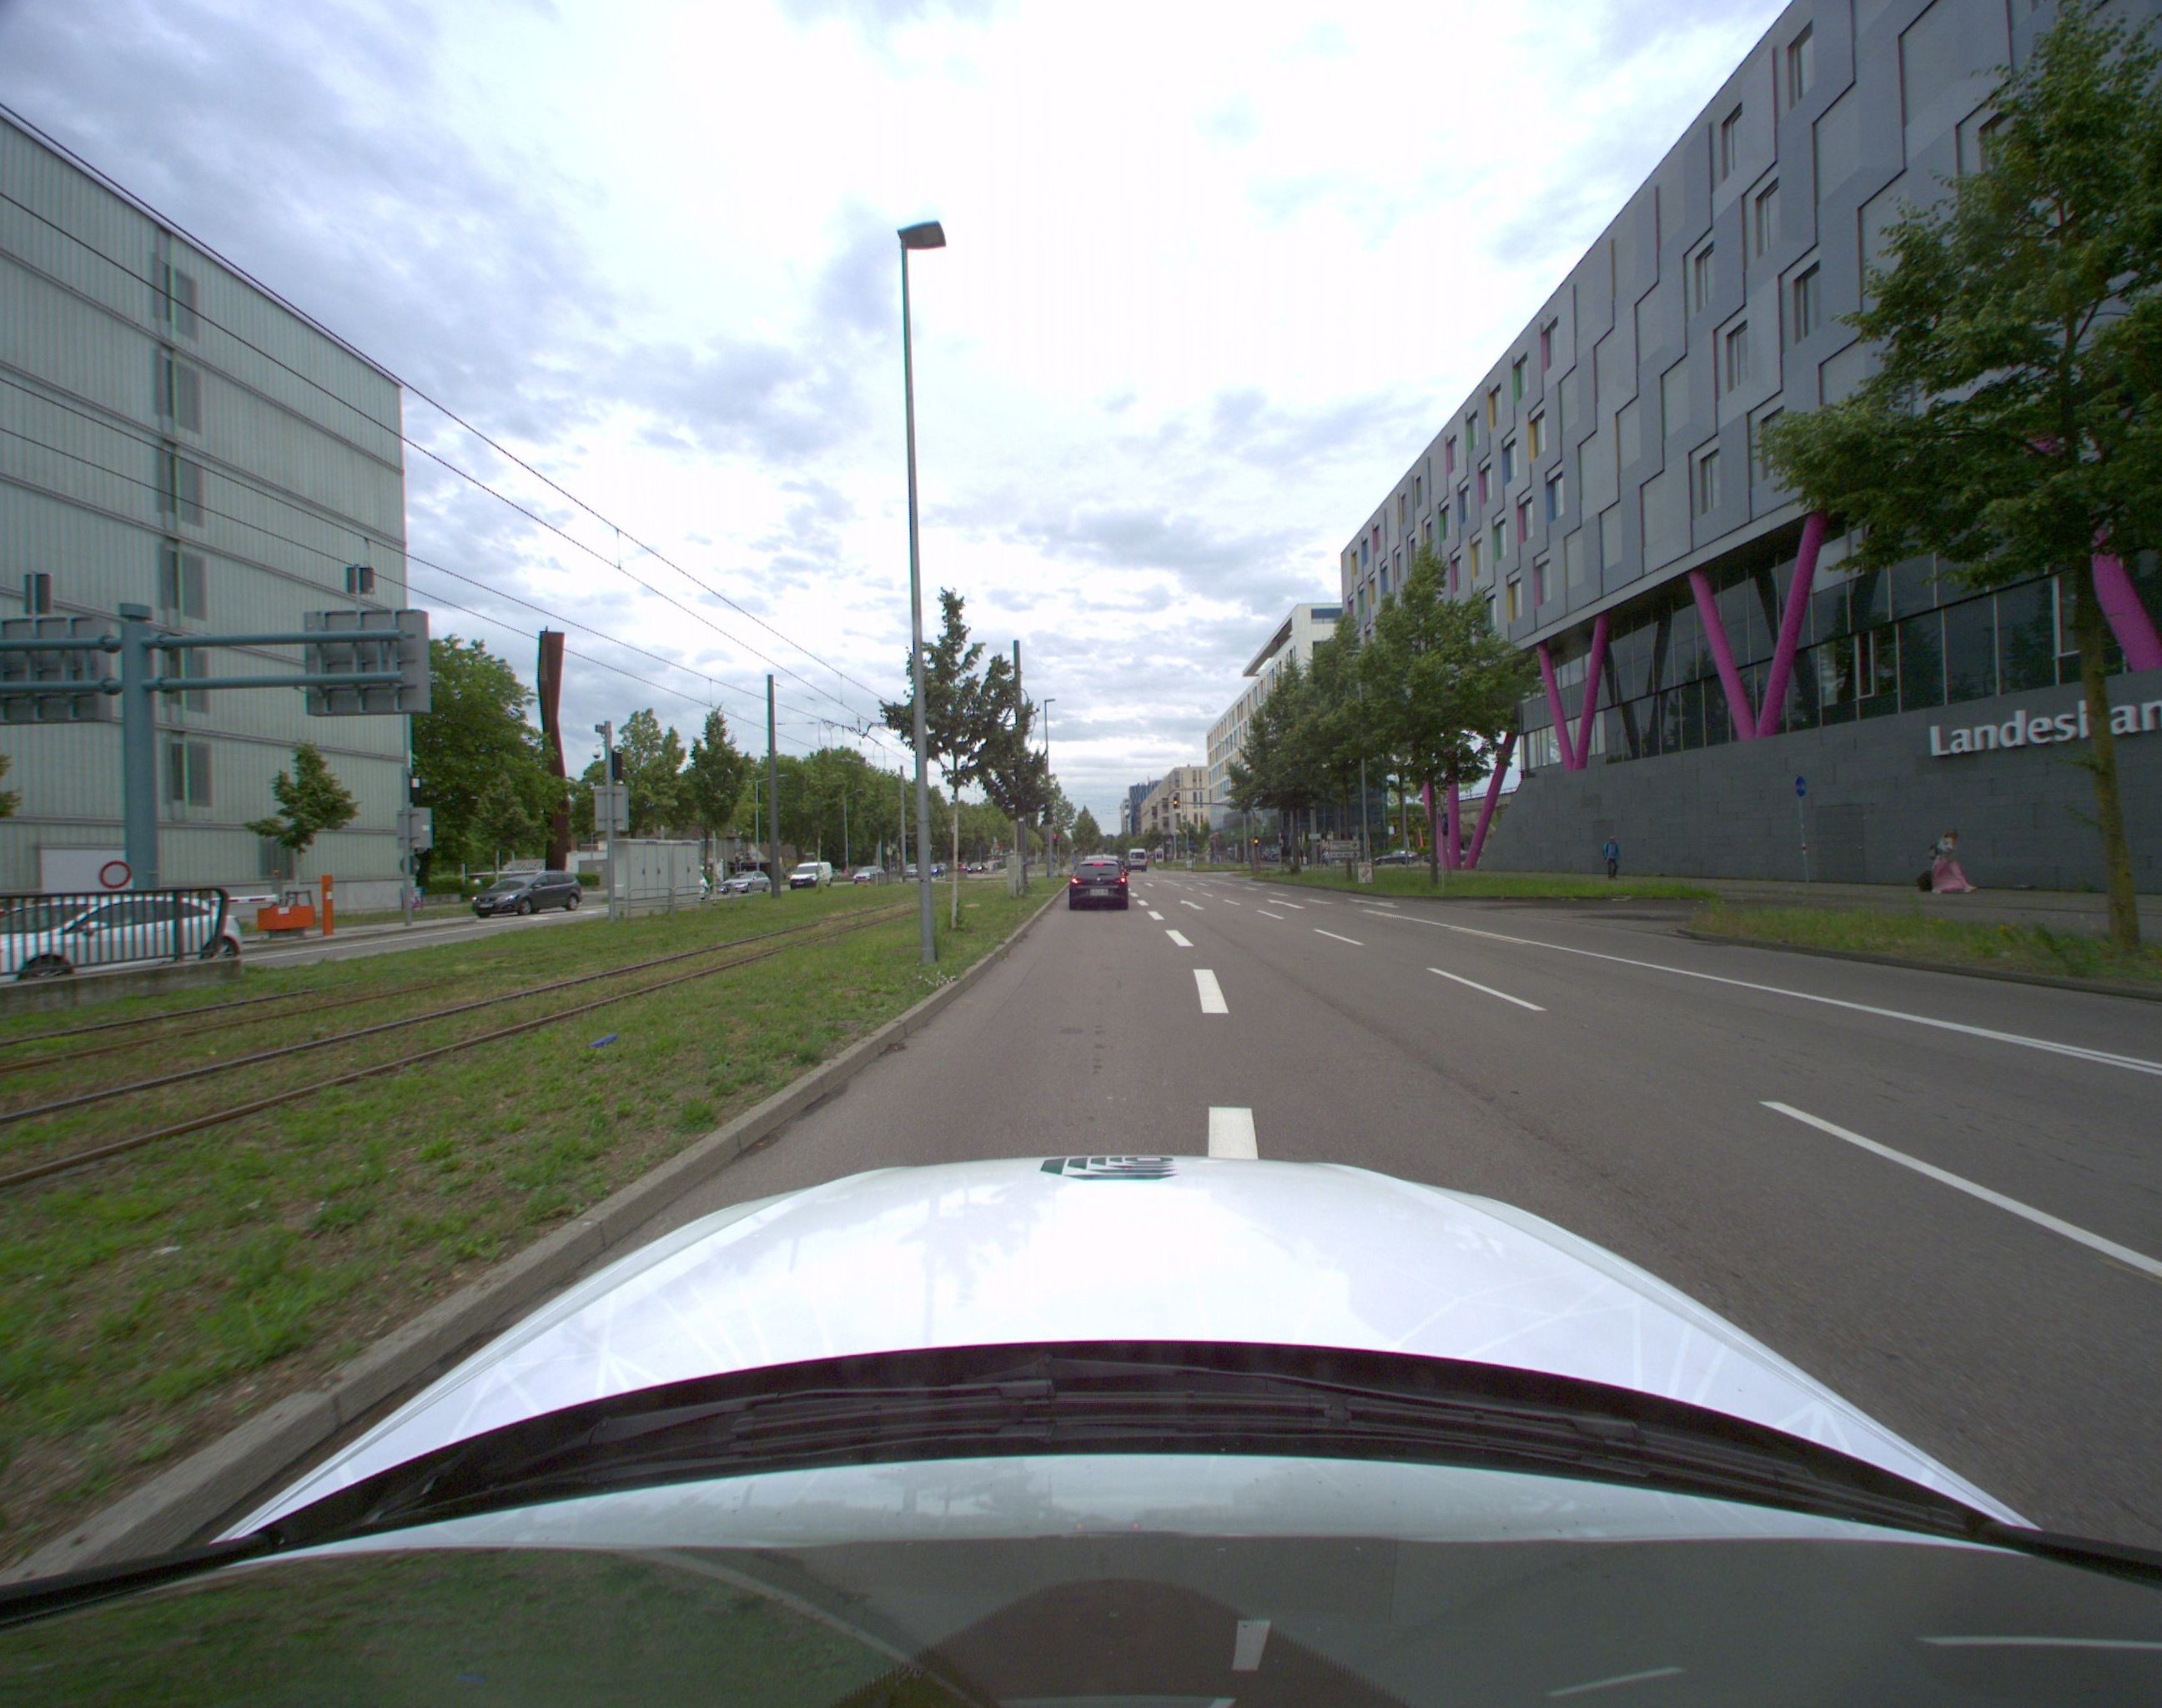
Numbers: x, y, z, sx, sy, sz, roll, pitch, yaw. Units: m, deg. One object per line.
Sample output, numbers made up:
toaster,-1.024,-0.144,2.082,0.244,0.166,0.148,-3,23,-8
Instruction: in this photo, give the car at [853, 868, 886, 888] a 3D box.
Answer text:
car,-18.330,2.071,70.679,1.724,1.445,4.916,-4,0,-3

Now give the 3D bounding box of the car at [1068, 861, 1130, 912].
car,0.524,0.934,25.032,1.738,1.417,4.000,0,0,0

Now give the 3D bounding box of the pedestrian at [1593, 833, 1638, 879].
pedestrian,21.341,0.085,32.534,1.047,1.770,1.137,-2,0,2

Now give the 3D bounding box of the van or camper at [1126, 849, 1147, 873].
van or camper,6.085,0.713,89.325,2.101,2.356,4.926,-1,2,2

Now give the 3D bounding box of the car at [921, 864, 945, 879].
car,-17.205,1.996,94.931,1.958,1.588,4.687,-1,0,-1

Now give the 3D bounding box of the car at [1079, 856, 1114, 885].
car,0.978,0.993,50.347,1.985,1.682,4.004,-1,0,3

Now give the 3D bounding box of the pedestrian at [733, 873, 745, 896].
pedestrian,-27.723,2.479,65.988,0.779,1.832,0.771,-2,0,-16

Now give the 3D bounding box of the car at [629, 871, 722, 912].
car,-17.557,1.581,35.529,1.757,1.479,4.570,-3,0,-1

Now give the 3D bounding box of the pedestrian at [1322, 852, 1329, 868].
pedestrian,25.683,0.656,85.522,0.612,1.604,0.619,-2,-1,3

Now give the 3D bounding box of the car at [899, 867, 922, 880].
car,-20.549,2.344,98.097,1.791,1.571,4.577,1,-1,-1

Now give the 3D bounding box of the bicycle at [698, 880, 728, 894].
bicycle,-35.249,3.183,77.992,2.520,1.202,0.734,-2,0,-25

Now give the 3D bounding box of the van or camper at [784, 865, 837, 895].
van or camper,-18.585,1.754,56.264,1.883,1.900,5.123,-3,0,0

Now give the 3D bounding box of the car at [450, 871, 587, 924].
car,-22.678,1.688,33.141,1.986,1.823,4.969,-2,0,1

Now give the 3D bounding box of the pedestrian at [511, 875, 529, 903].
pedestrian,-41.702,2.580,60.535,0.910,2.013,0.942,-1,-1,-41

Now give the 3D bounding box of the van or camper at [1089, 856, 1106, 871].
van or camper,2.057,1.112,99.566,1.986,1.615,4.791,-1,1,2

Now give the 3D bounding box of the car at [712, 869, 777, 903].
car,-22.634,2.120,55.049,1.986,2.013,5.296,-2,0,2

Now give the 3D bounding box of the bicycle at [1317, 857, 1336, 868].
bicycle,25.766,0.913,85.525,1.784,1.085,0.618,-2,-1,2

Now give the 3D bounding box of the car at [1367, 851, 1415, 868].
car,31.760,0.584,83.539,4.233,1.615,1.759,-2,0,2

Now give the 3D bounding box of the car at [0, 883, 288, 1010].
car,-15.977,1.383,13.225,1.989,1.586,4.374,-2,0,-3

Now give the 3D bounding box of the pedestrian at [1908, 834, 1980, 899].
pedestrian,21.633,0.300,20.435,0.781,1.582,0.915,-2,0,2

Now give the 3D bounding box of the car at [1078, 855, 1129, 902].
car,0.852,0.884,31.215,1.796,1.624,4.001,-2,0,1

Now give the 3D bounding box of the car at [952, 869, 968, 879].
car,-19.637,3.230,132.109,1.789,1.570,4.330,-2,0,2

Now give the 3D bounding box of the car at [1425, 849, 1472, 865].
car,37.777,0.313,83.772,4.064,1.455,1.759,-2,0,2
